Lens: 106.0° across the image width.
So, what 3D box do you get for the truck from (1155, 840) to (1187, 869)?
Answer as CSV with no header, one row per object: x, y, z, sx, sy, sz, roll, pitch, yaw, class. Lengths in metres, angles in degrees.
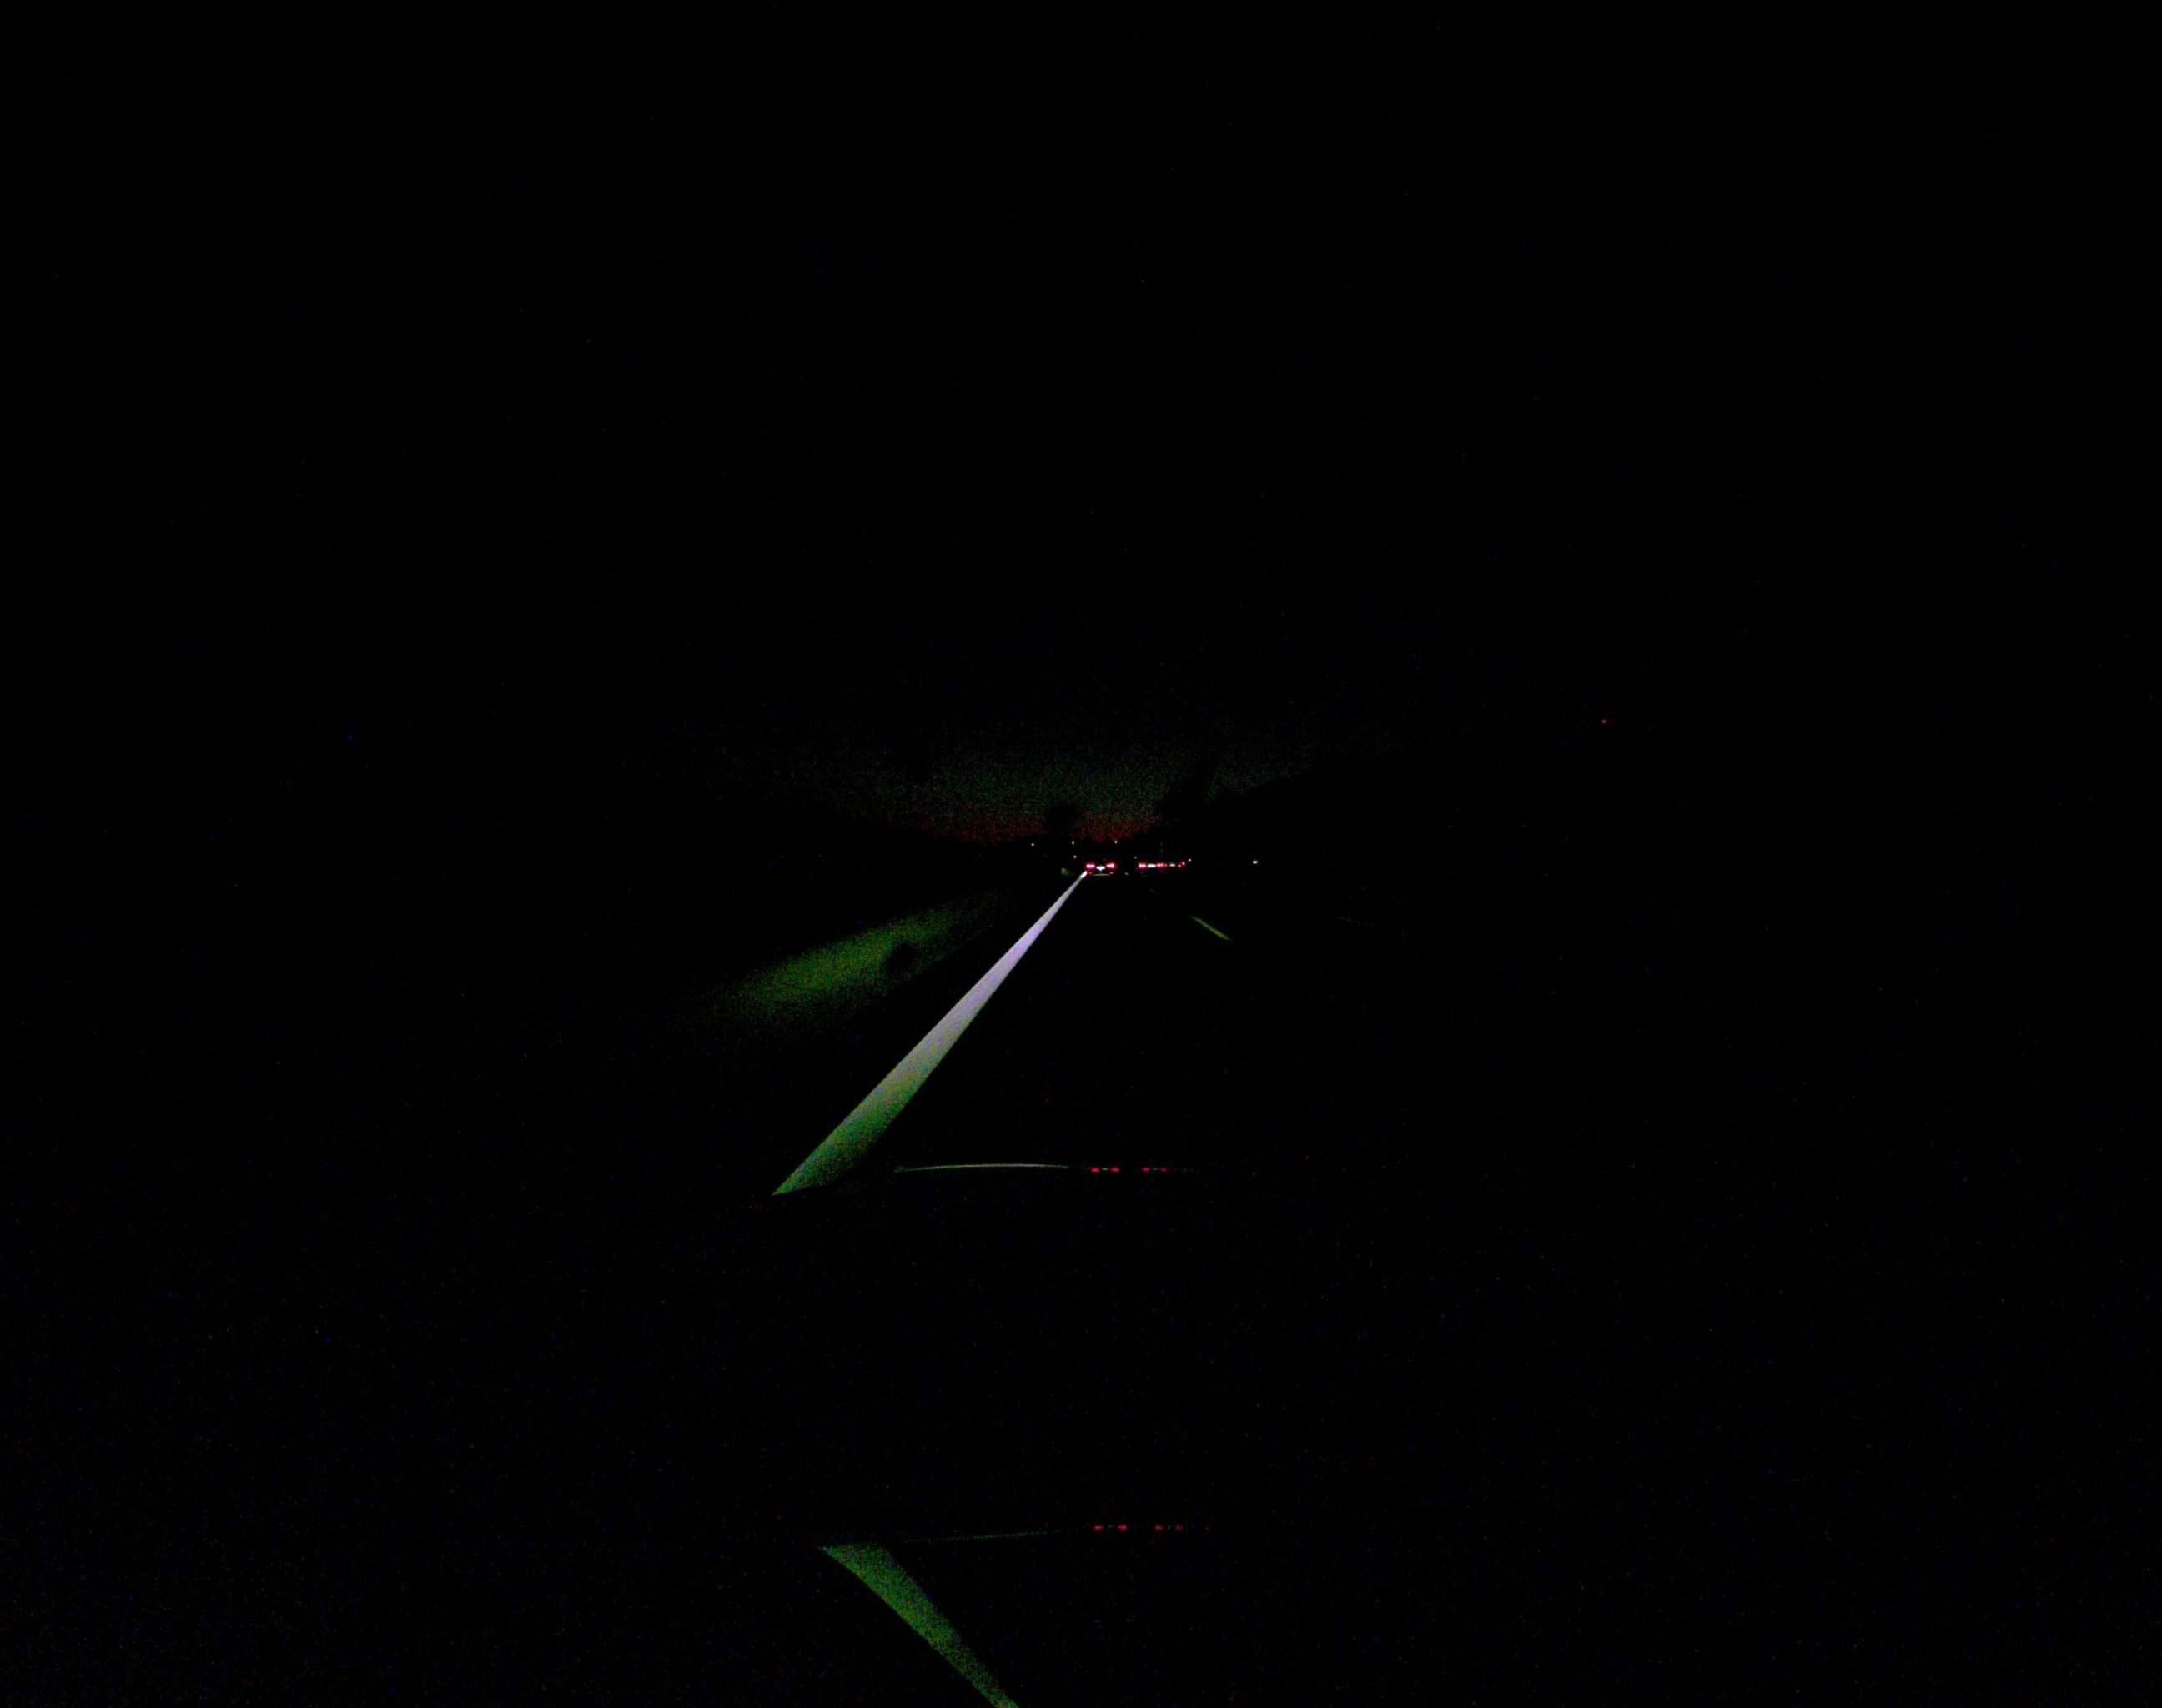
10.011,0.015,91.596,2.594,2.875,7.486,6,0,1,truck

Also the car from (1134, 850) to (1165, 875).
4.866,0.587,58.238,1.905,1.730,3.999,0,0,0,car

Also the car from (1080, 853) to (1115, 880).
1.011,0.769,51.008,2.099,1.618,4.203,1,0,0,car
